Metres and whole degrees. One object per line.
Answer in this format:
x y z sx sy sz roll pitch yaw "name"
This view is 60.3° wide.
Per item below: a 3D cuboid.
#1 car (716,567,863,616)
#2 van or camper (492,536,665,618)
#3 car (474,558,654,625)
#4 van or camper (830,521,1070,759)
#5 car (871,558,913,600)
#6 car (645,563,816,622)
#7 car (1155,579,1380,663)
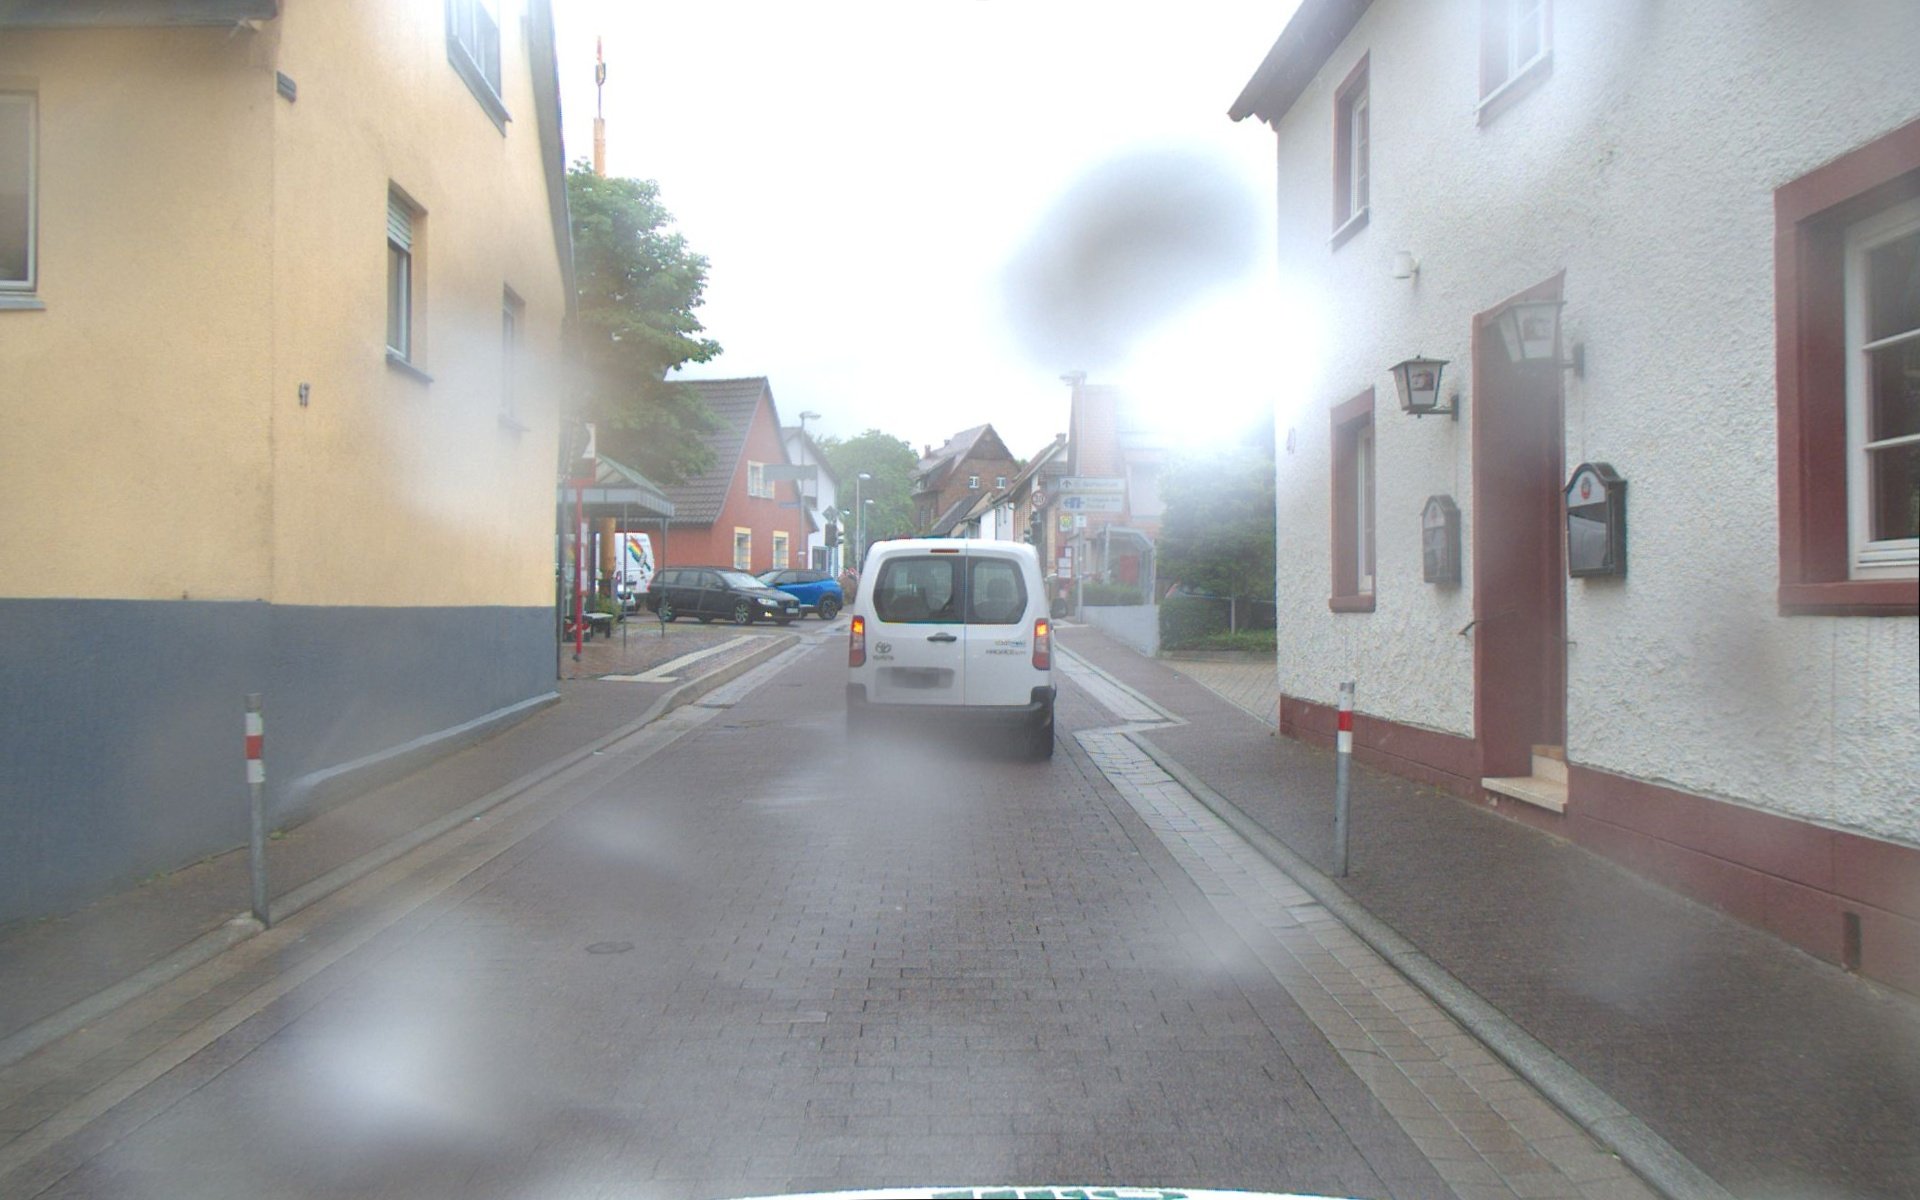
-5.136 -0.237 50.037 3.960 1.397 2.082 0 -1 -39 "car"
-12.058 -0.745 52.277 5.040 2.478 2.210 0 1 25 "van or camper"
-10.623 -0.257 44.384 4.354 1.576 1.883 3 2 20 "car"
-0.174 0.314 15.203 1.904 1.883 3.998 0 0 -3 "van or camper"
-2.985 -0.938 72.365 1.776 1.810 4.016 0 1 -2 "car"
-6.160 -0.216 44.385 4.213 1.503 1.850 0 1 23 "car"
5.936 0.375 31.836 4.138 1.506 1.696 1 0 14 "car"
